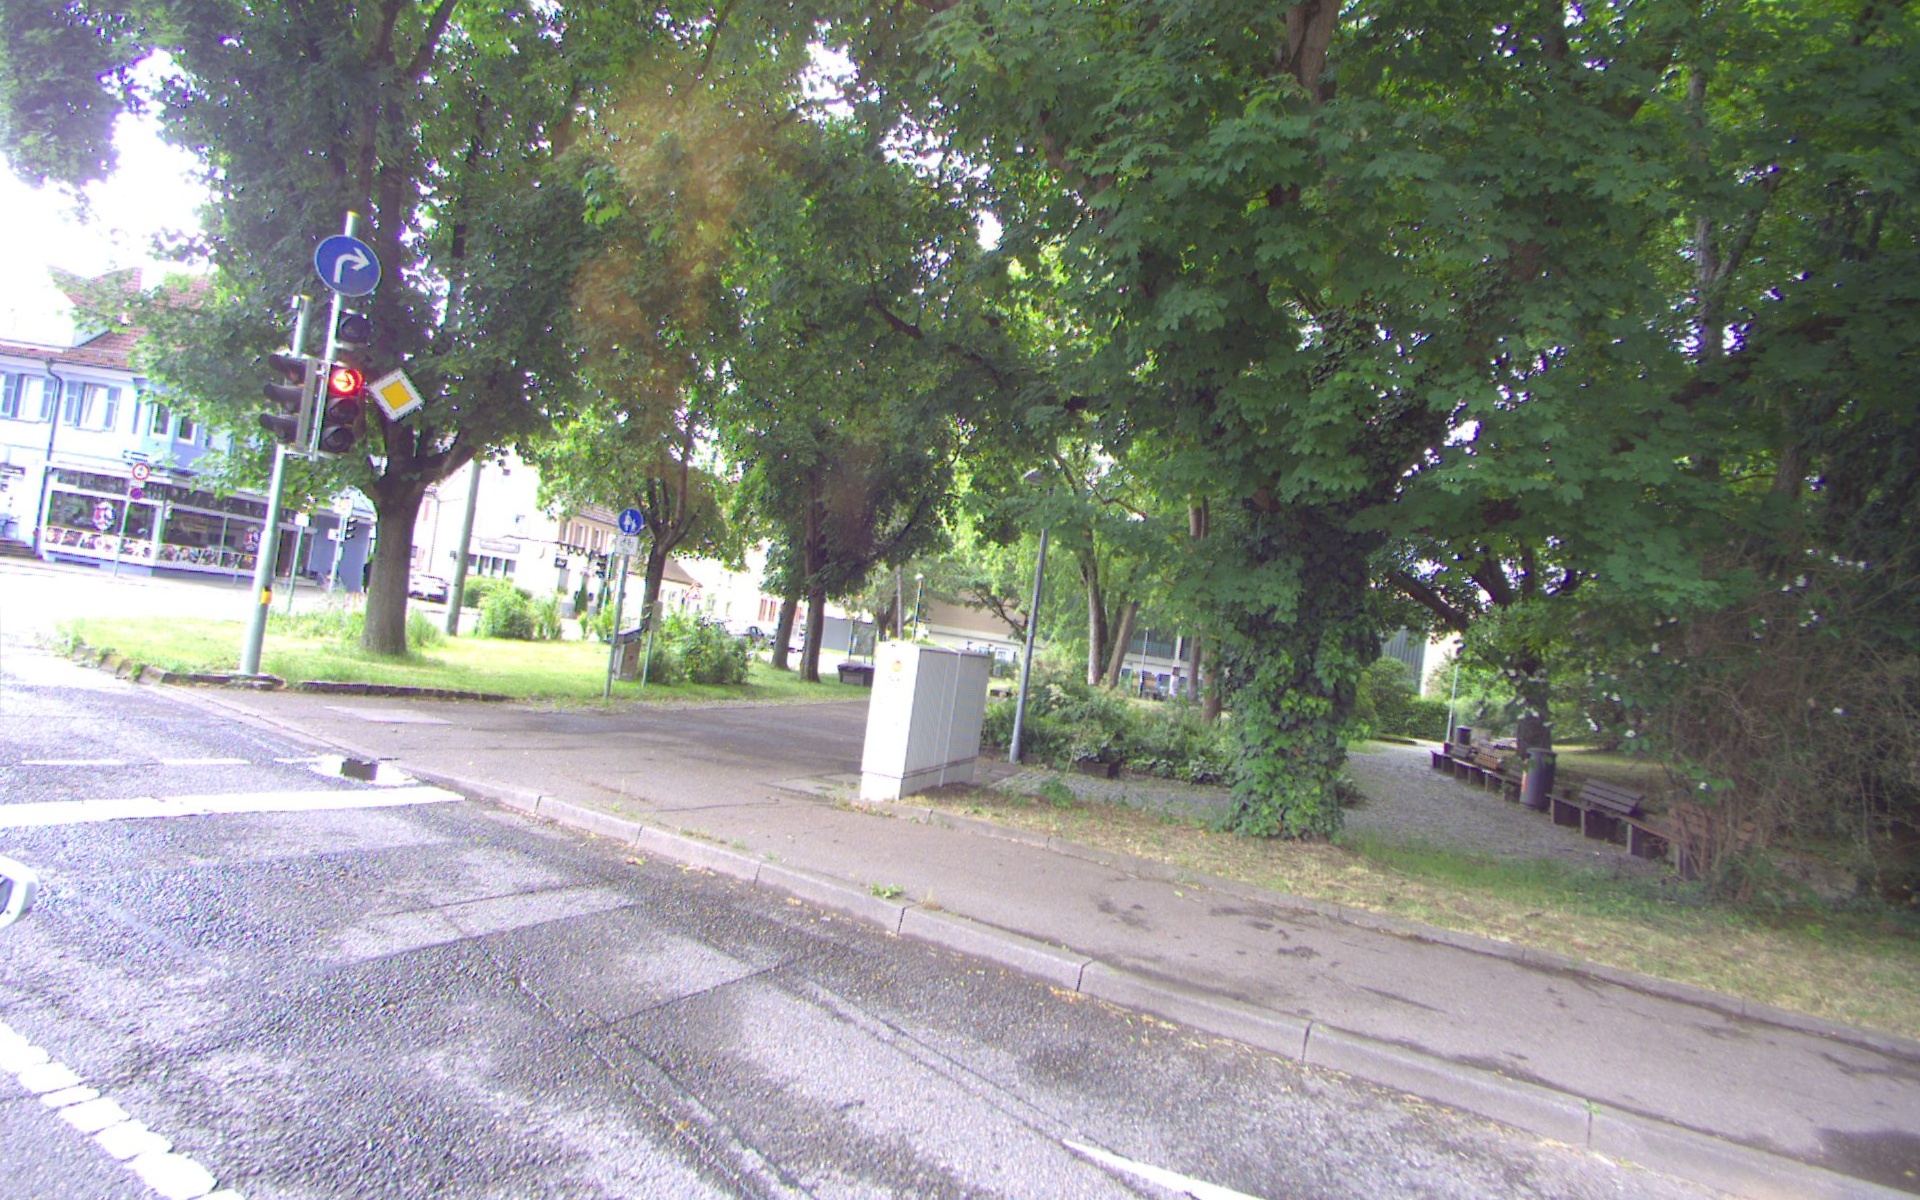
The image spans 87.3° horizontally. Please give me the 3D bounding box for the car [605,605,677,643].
[{"bbox_3d":[-14.010,1.088,44.356,1.530,1.336,3.514,7,-2,9],"label":"car"}]

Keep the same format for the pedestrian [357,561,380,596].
[{"bbox_3d":[-27.476,-1.014,46.718,0.576,1.535,0.460,7,-1,12],"label":"pedestrian"}]

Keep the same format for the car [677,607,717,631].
[{"bbox_3d":[-19.371,1.439,74.248,1.528,1.436,4.005,7,-2,4],"label":"car"}]

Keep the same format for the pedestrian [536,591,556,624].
[{"bbox_3d":[-22.225,0.421,54.001,0.600,1.668,0.610,7,-1,3],"label":"pedestrian"}]

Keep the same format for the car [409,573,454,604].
[{"bbox_3d":[-27.871,-0.607,53.144,1.479,1.384,3.166,8,-2,-19],"label":"car"}]

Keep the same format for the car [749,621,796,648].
[{"bbox_3d":[-11.168,2.069,60.105,1.530,1.336,3.514,7,-2,8],"label":"car"}]

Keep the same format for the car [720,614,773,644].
[{"bbox_3d":[-11.569,1.595,54.820,1.530,1.336,3.514,7,-2,9],"label":"car"}]

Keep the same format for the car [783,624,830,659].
[{"bbox_3d":[-10.056,2.757,66.174,1.750,2.037,4.005,7,-2,7],"label":"car"}]
